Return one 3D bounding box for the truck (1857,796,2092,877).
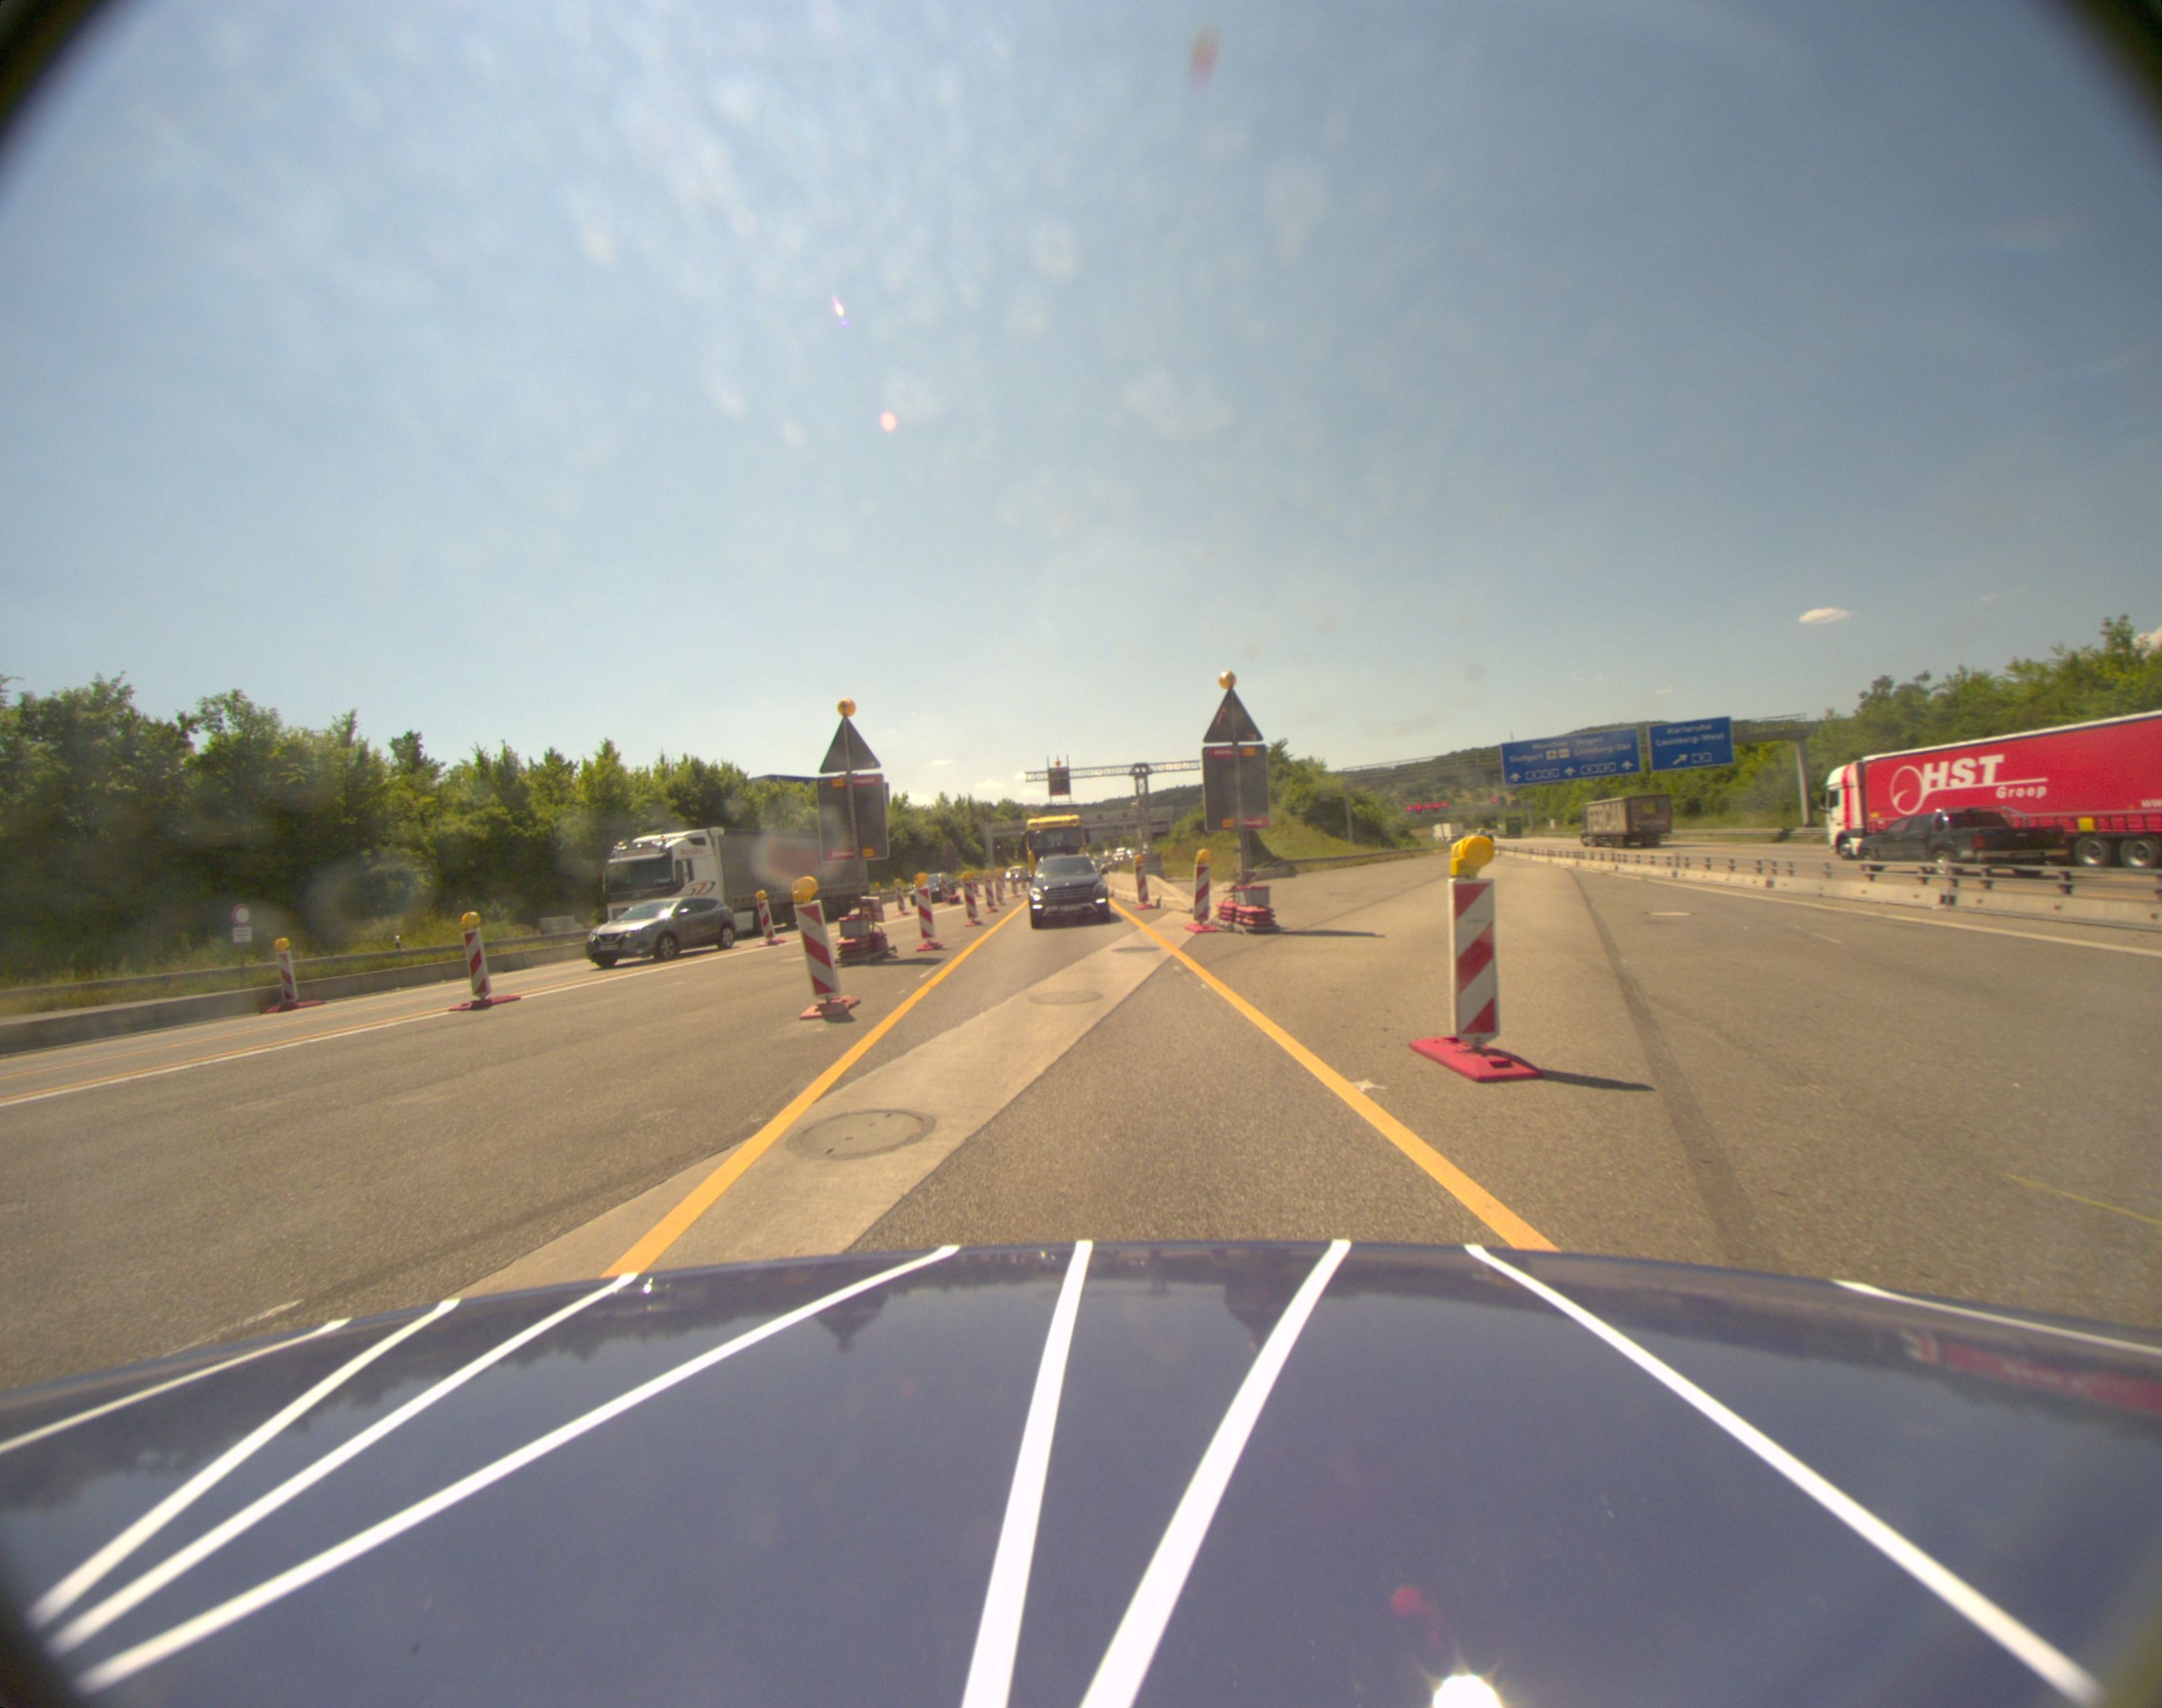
[{"bbox_3d":[24.408,-0.439,21.086,1.996,1.862,4.767,-4,-1,19],"label":"truck"}]

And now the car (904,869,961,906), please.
[{"bbox_3d":[-8.534,1.878,44.172,1.819,1.685,4.495,-7,0,6],"label":"car"}]

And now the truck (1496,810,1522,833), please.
[{"bbox_3d":[86.780,-6.621,154.250,3.550,4.245,5.786,-5,1,22],"label":"truck"}]

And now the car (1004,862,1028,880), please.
[{"bbox_3d":[-7.443,1.945,87.015,1.819,1.685,4.494,-6,0,5],"label":"car"}]

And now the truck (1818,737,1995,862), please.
[{"bbox_3d":[30.574,-1.918,28.434,2.337,4.084,5.023,-4,1,21],"label":"truck"}]

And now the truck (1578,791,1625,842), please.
[{"bbox_3d":[47.237,-3.357,69.078,2.434,4.245,4.845,-4,0,23],"label":"truck"}]

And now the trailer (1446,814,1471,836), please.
[{"bbox_3d":[83.267,-6.460,167.627,3.550,4.245,13.925,-5,0,22],"label":"trailer"}]

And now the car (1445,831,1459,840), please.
[{"bbox_3d":[73.054,-3.609,149.615,1.718,1.614,4.175,-5,0,19],"label":"car"}]

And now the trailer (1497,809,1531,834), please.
[{"bbox_3d":[84.277,-6.344,148.082,3.550,4.245,13.925,-5,0,22],"label":"trailer"}]

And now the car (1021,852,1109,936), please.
[{"bbox_3d":[-0.310,0.905,19.332,1.819,1.685,4.493,-6,0,1],"label":"car"}]

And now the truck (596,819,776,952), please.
[{"bbox_3d":[-13.516,0.989,26.607,2.533,3.927,5.601,-7,0,6],"label":"truck"}]

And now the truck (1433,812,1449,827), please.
[{"bbox_3d":[111.389,-10.643,235.304,3.550,4.245,13.925,-5,0,22],"label":"truck"}]

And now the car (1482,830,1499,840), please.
[{"bbox_3d":[64.209,-3.023,119.142,1.718,1.482,3.692,-4,0,18],"label":"car"}]

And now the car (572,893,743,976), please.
[{"bbox_3d":[-10.886,2.000,19.909,1.709,1.543,4.033,-6,0,7],"label":"car"}]

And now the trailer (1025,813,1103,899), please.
[{"bbox_3d":[-1.166,0.221,43.949,3.237,3.645,17.420,-6,-1,-3],"label":"trailer"}]

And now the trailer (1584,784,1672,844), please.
[{"bbox_3d":[44.566,-3.137,62.454,2.438,4.271,13.827,-4,0,22],"label":"trailer"}]

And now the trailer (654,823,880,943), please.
[{"bbox_3d":[-12.817,0.974,33.476,2.546,3.929,13.874,-7,0,6],"label":"trailer"}]

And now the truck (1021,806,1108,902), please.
[{"bbox_3d":[-0.809,0.063,34.888,3.230,3.639,7.082,-6,-1,-2],"label":"truck"}]

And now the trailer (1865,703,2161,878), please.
[{"bbox_3d":[27.968,-1.686,21.599,2.340,4.078,13.278,-4,0,21],"label":"trailer"}]
